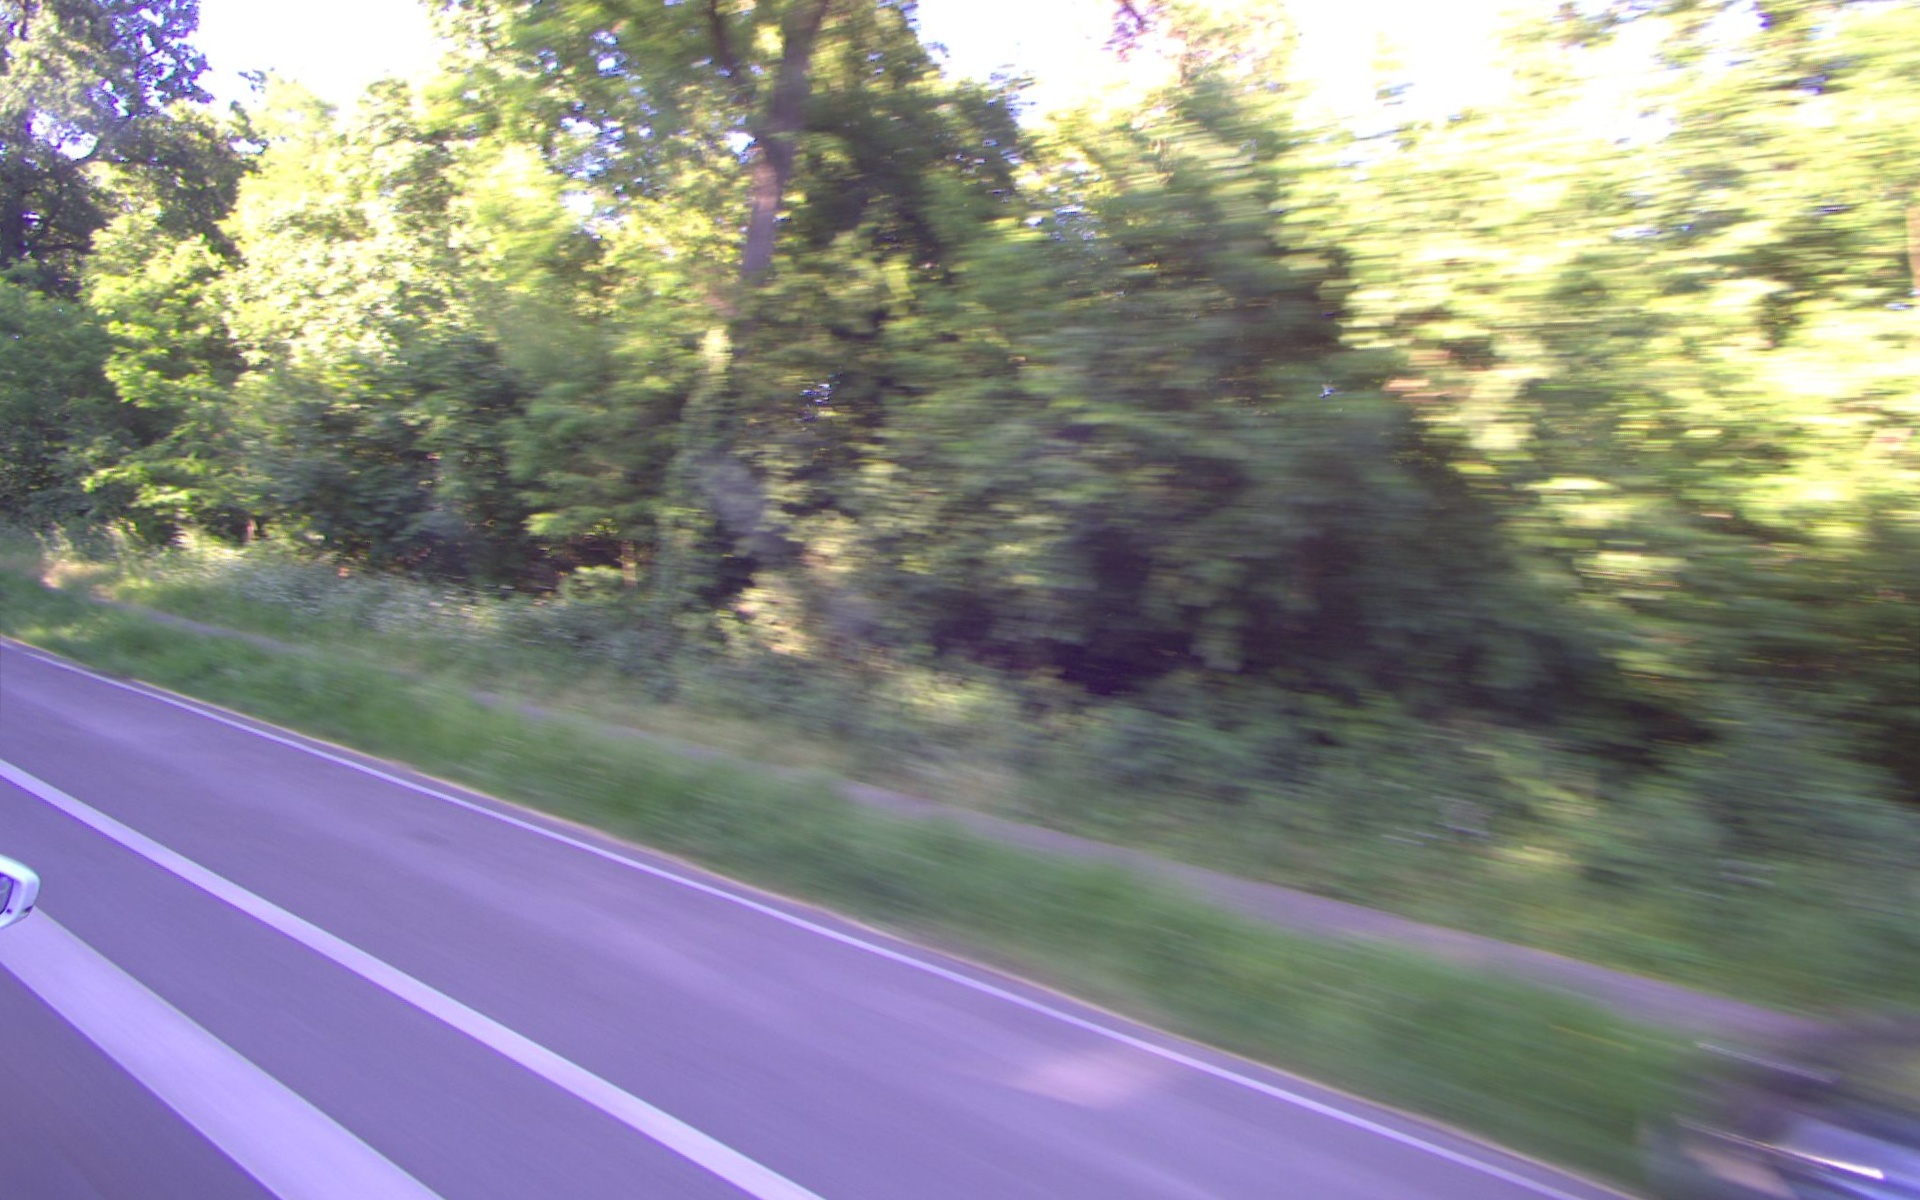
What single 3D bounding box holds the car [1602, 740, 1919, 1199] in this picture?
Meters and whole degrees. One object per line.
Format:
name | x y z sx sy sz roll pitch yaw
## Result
car | 3.895 1.340 1.655 4.517 1.436 1.840 7 -3 29
